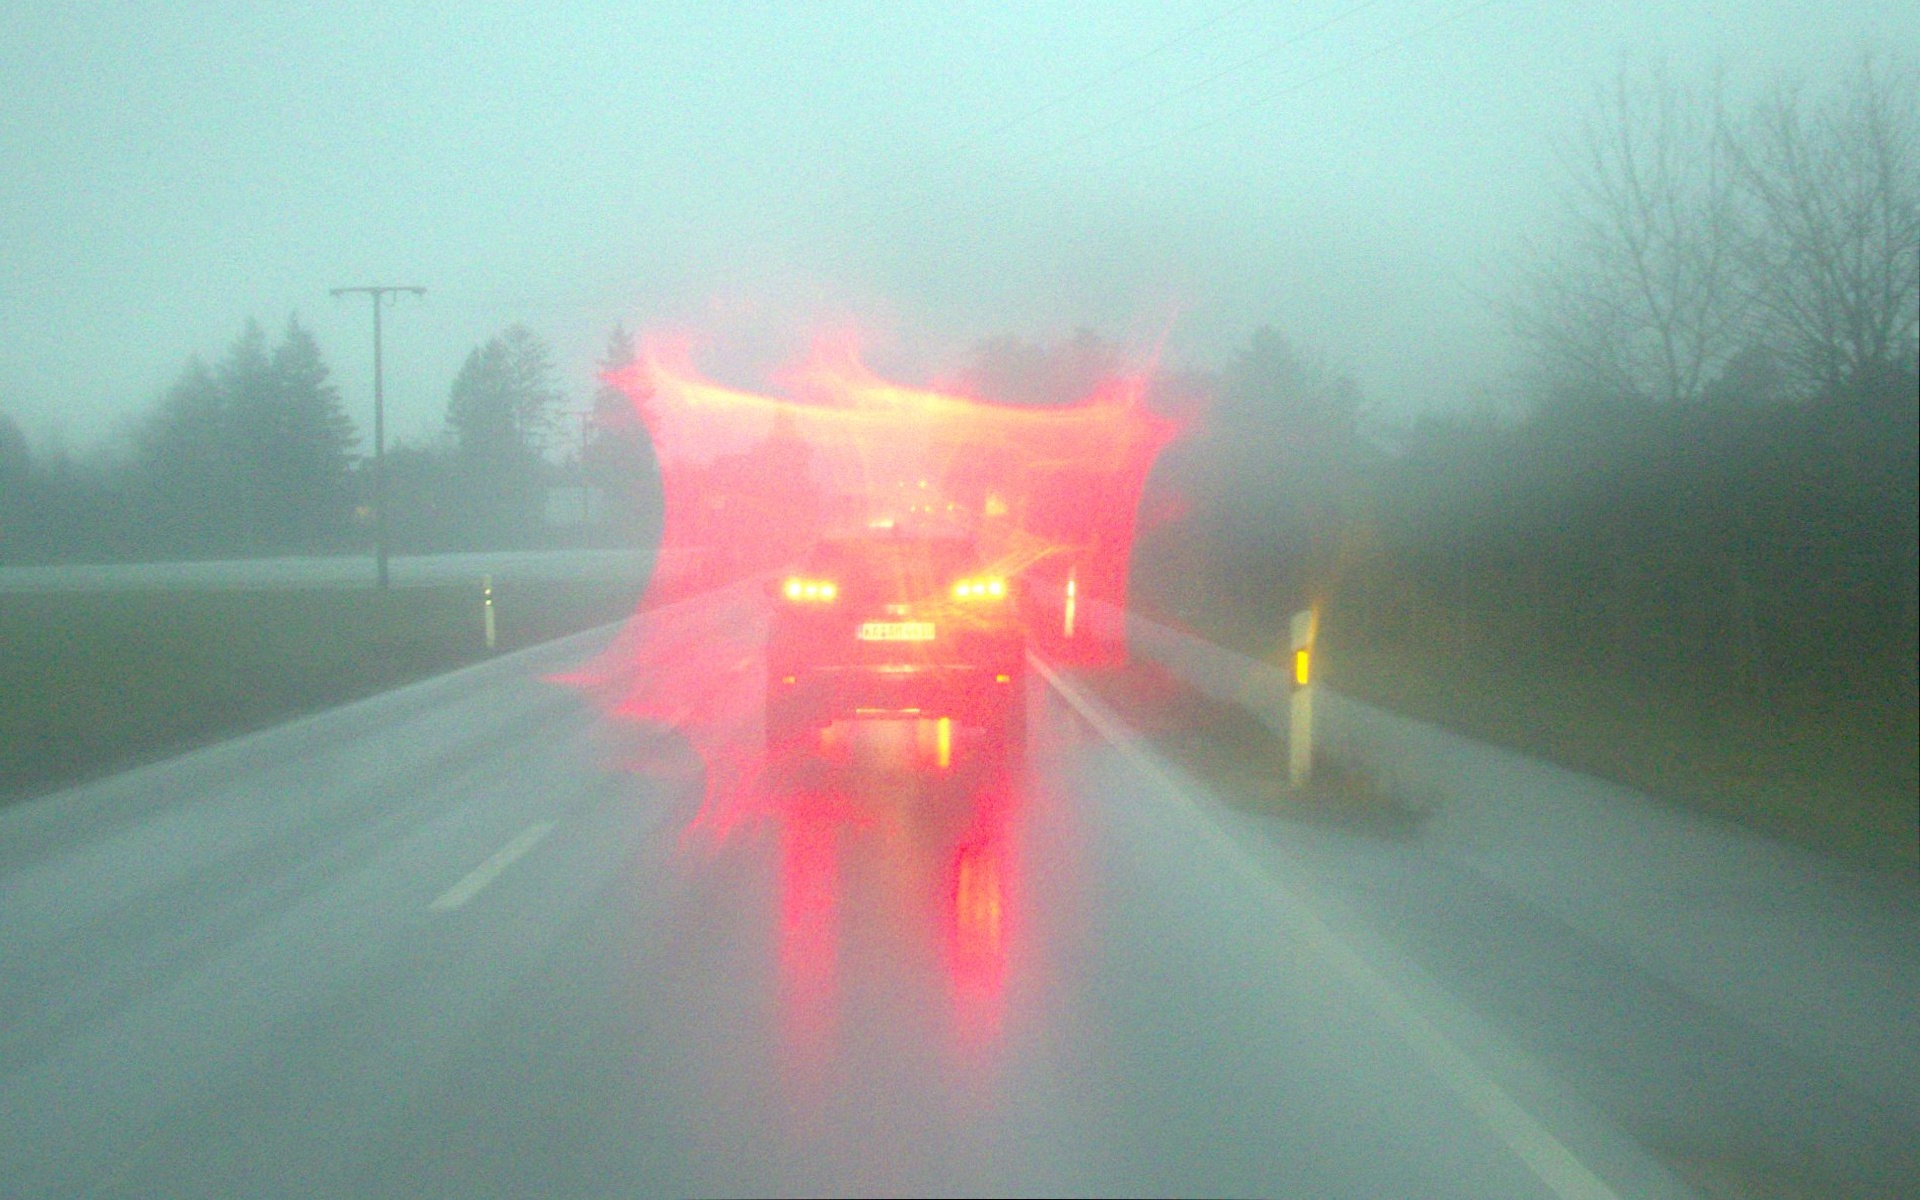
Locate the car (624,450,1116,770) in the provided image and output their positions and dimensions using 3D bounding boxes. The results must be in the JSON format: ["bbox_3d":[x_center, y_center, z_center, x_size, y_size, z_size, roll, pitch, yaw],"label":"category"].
[{"bbox_3d":[-0.601,-0.025,25.778,3.164,2.028,6.852,-1,1,0],"label":"car"}]

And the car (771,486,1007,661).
[{"bbox_3d":[-0.853,-0.399,43.903,2.756,2.028,6.591,-1,1,0],"label":"car"}]
